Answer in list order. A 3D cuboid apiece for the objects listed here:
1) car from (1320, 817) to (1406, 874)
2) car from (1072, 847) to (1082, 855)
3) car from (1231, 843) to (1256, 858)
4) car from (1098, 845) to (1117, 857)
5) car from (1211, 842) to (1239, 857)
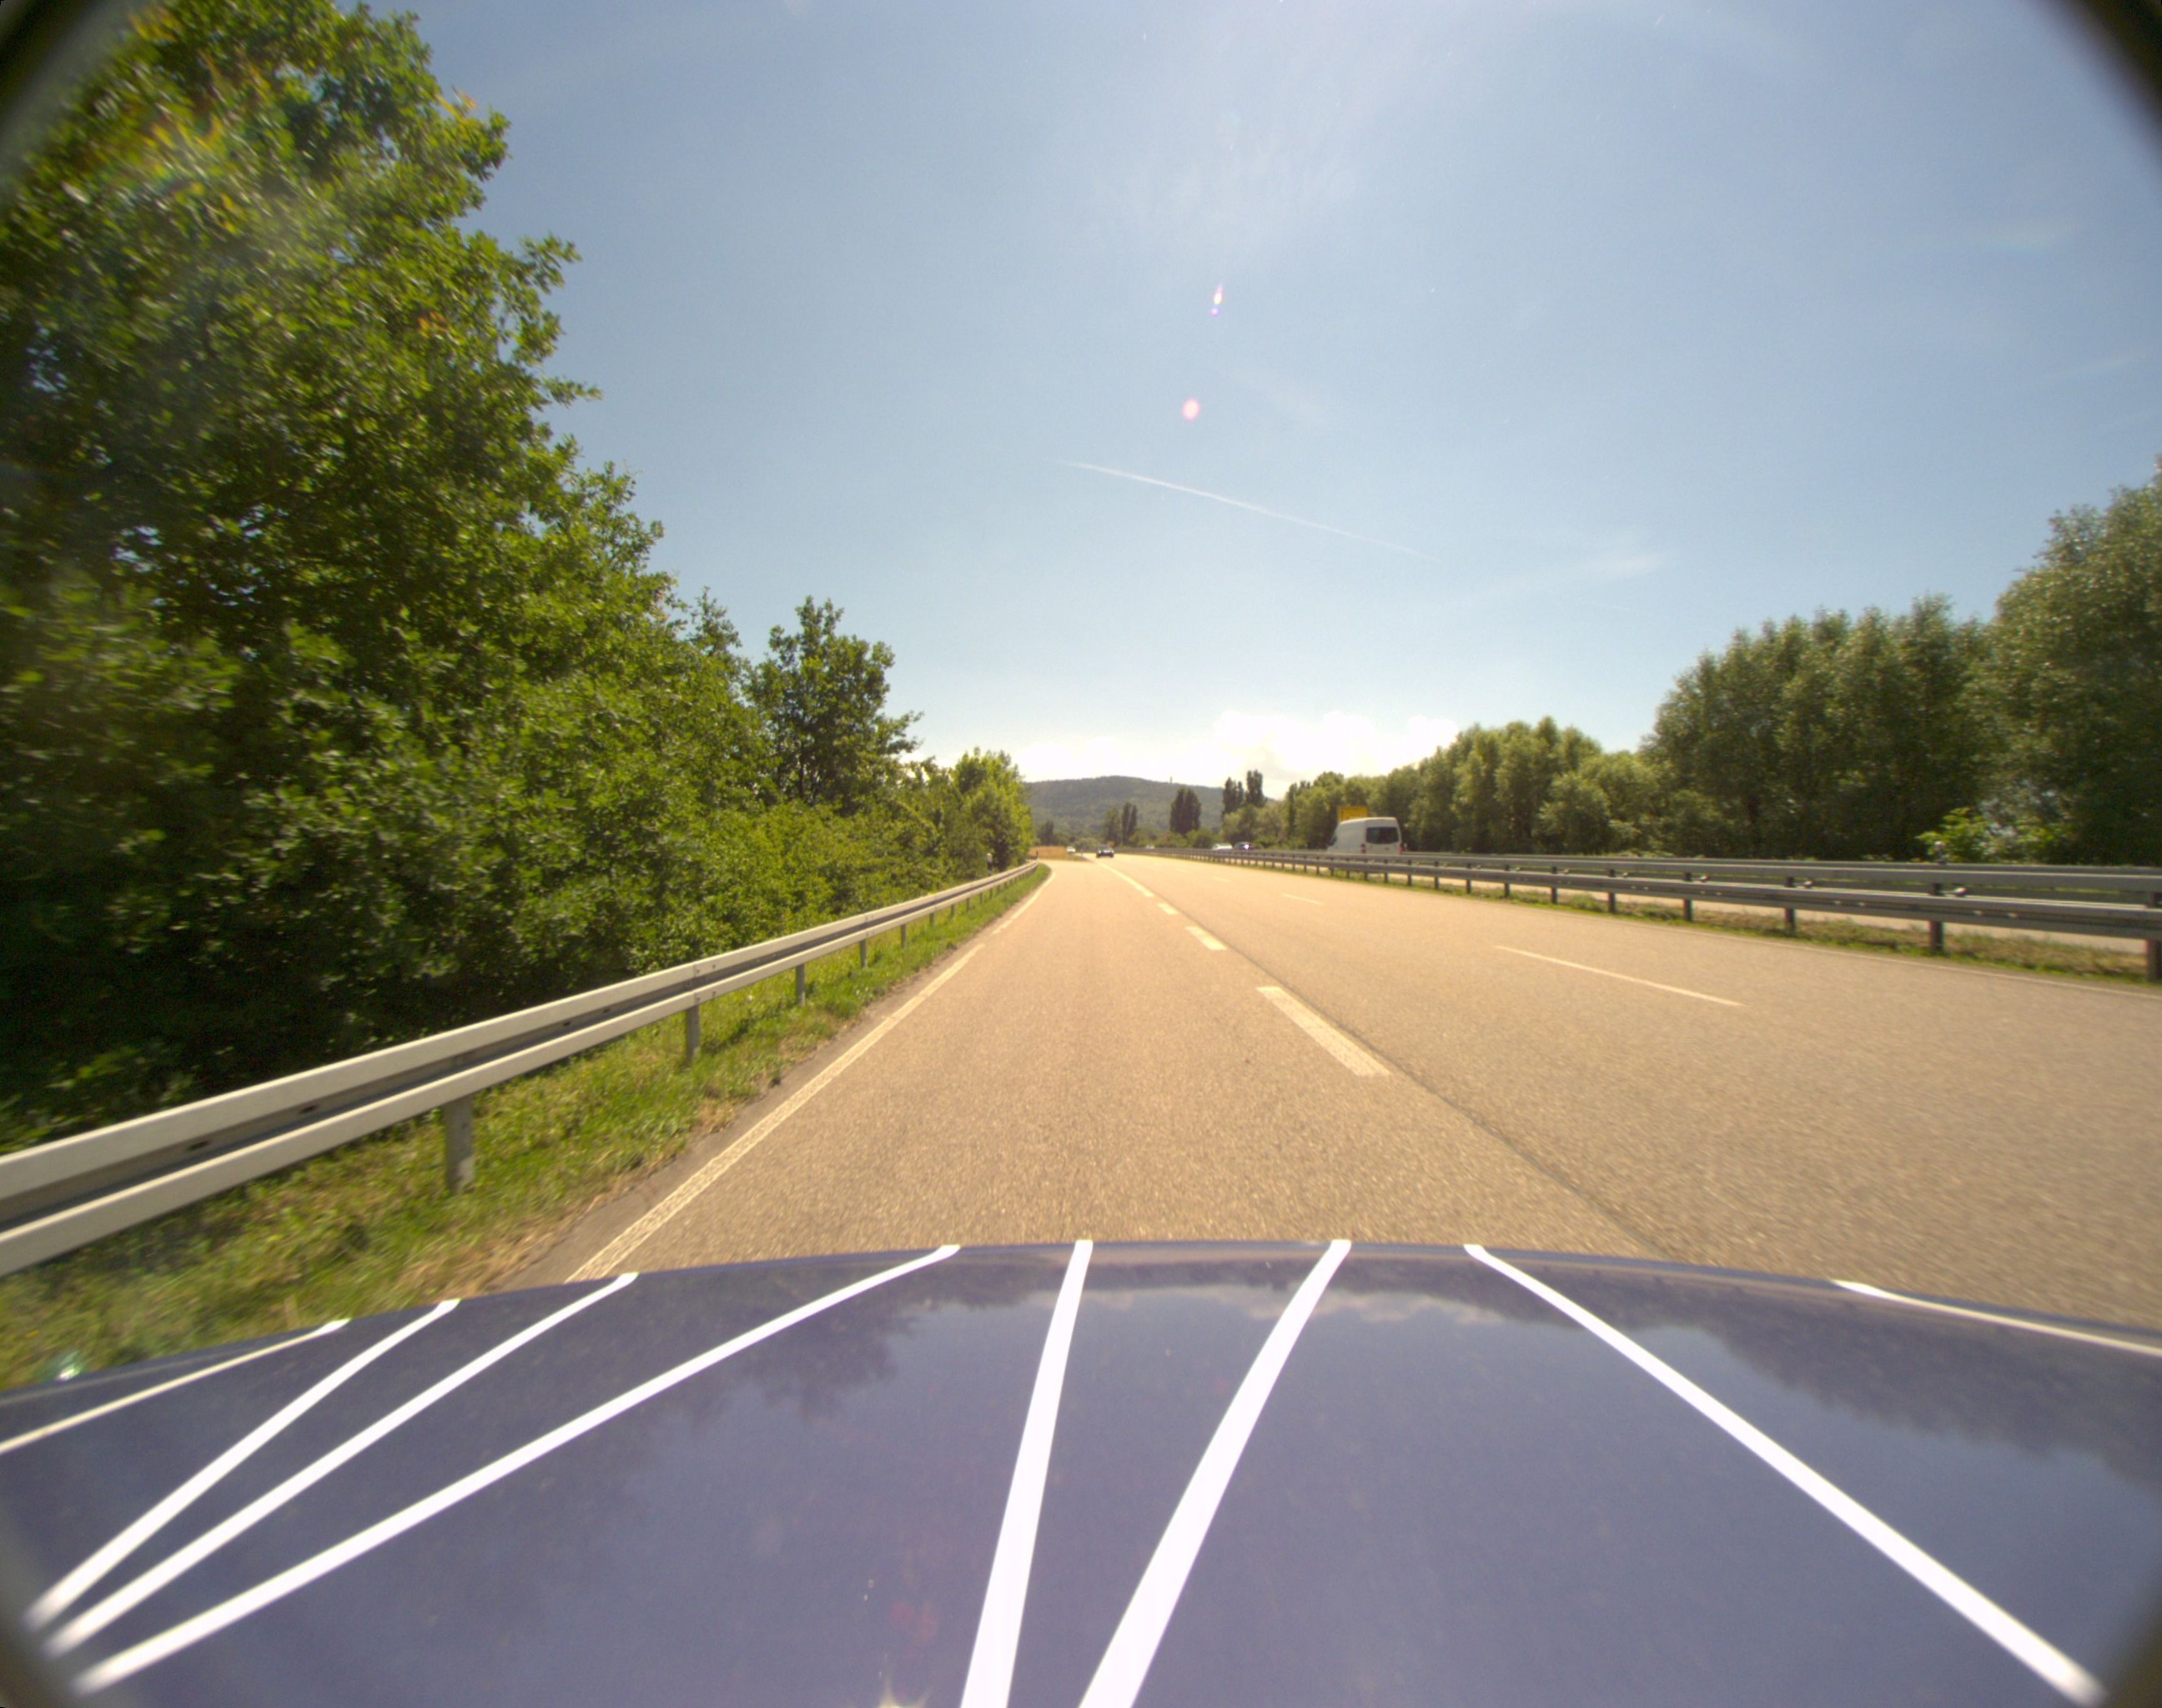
[{"bbox_3d":[14.404,-0.465,39.332,2.107,2.667,6.627,-1,1,1],"label":"car"},{"bbox_3d":[-0.810,-0.611,162.048,1.998,1.630,4.001,-1,0,3],"label":"car"},{"bbox_3d":[17.953,-0.409,83.910,1.693,1.543,4.073,-1,1,-3],"label":"car"},{"bbox_3d":[3.125,-0.388,91.306,1.909,1.368,3.889,-1,1,-3],"label":"car"},{"bbox_3d":[14.117,-0.457,74.685,1.923,1.481,3.999,-1,1,-2],"label":"car"}]
